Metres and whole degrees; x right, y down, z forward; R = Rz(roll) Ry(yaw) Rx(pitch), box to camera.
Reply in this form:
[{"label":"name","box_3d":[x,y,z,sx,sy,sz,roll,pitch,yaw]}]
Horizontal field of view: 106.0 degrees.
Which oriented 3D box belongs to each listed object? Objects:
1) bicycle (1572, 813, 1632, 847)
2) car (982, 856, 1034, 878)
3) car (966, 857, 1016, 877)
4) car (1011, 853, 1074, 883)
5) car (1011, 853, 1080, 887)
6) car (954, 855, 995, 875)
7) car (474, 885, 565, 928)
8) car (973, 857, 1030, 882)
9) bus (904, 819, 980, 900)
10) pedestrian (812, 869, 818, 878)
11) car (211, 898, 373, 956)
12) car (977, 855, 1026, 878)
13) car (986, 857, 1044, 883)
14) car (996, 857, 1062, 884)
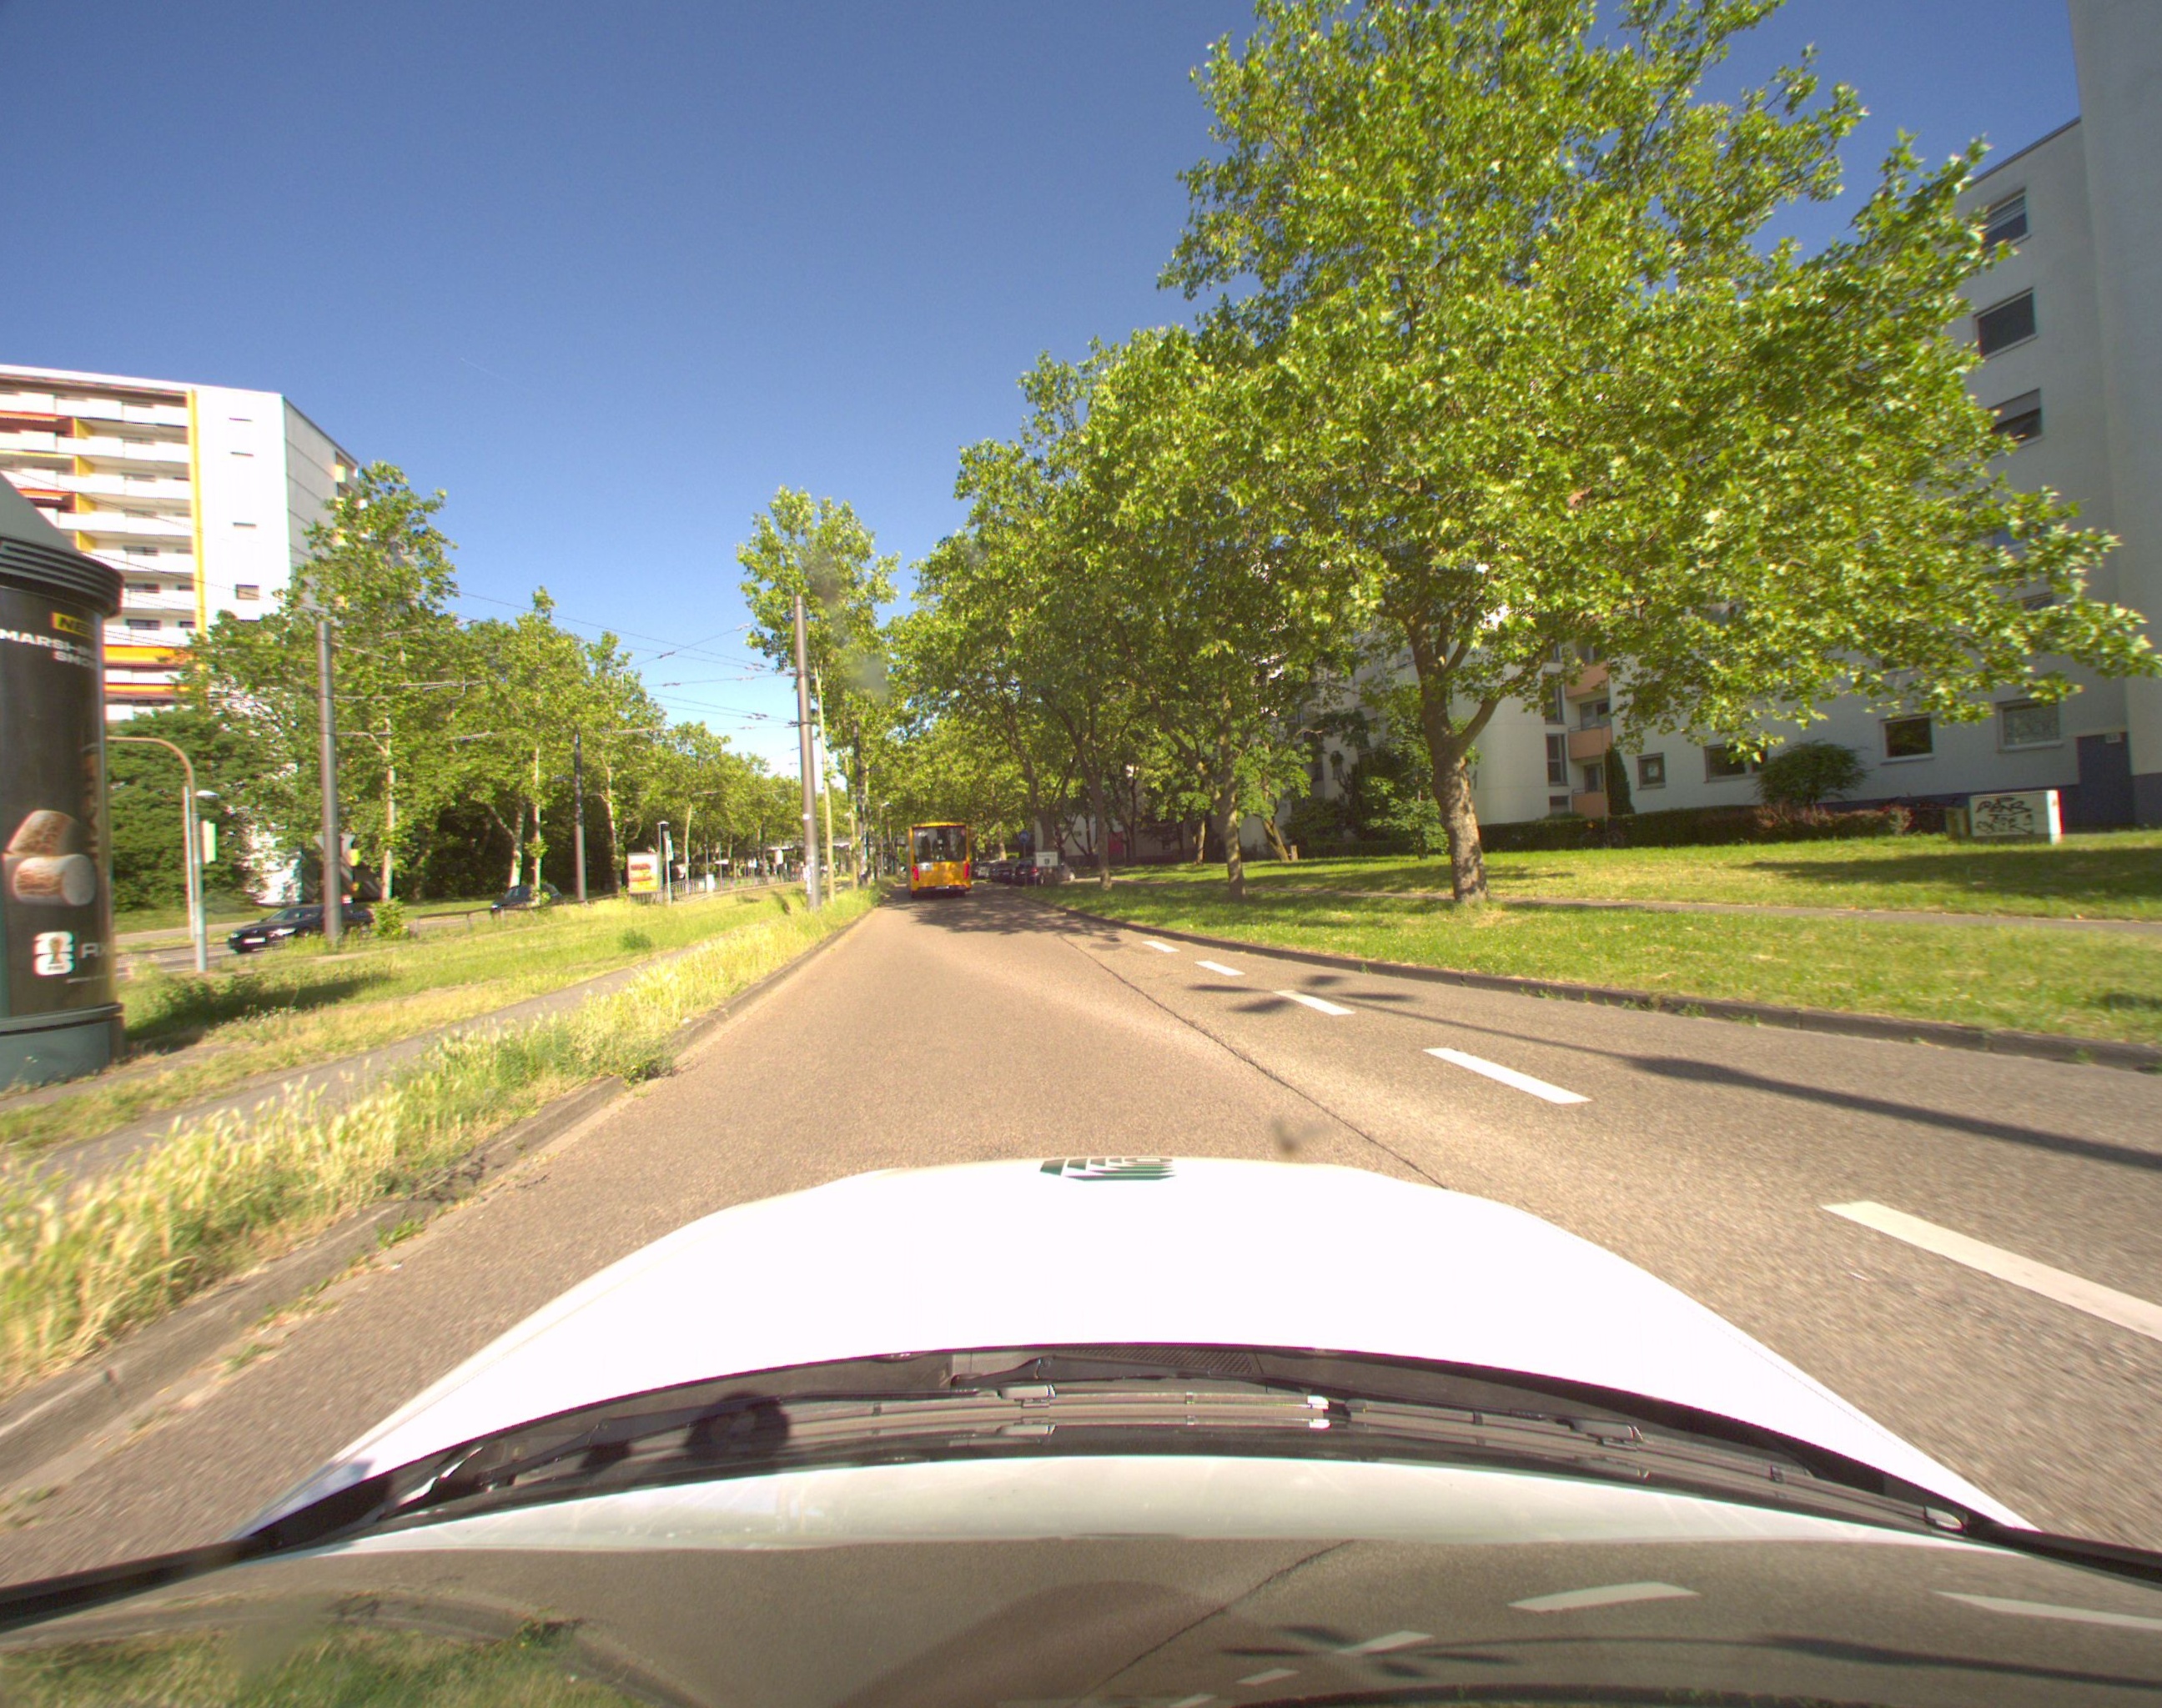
[{"label":"bicycle","box_3d":[18.613,-0.844,29.138,0.500,1.107,1.789,-8,1,-18]},{"label":"car","box_3d":[-5.734,1.034,64.701,1.776,1.444,4.026,-4,0,37]},{"label":"car","box_3d":[-8.011,1.183,72.777,1.777,1.422,4.620,-4,0,33]},{"label":"car","box_3d":[-2.275,0.830,48.627,1.776,1.492,3.608,-4,0,36]},{"label":"car","box_3d":[-1.936,0.878,45.398,1.776,1.592,3.751,-4,0,37]},{"label":"car","box_3d":[-12.754,1.315,97.942,1.991,2.052,4.620,-5,0,38]},{"label":"car","box_3d":[-25.178,2.287,36.694,1.795,1.616,4.216,-3,0,-12]},{"label":"car","box_3d":[-5.666,1.087,58.490,1.777,1.510,4.204,-4,0,31]},{"label":"bus","box_3d":[-7.097,0.329,39.996,2.903,3.266,12.163,-3,0,-13]},{"label":"pedestrian","box_3d":[-38.762,2.893,118.745,0.779,1.238,0.718,-2,-1,-14]},{"label":"car","box_3d":[-26.135,2.359,27.201,1.795,1.510,4.250,-3,0,-12]},{"label":"car","box_3d":[-6.640,1.021,68.361,1.776,1.575,4.026,-4,0,38]},{"label":"car","box_3d":[-4.455,1.089,55.186,1.776,1.445,3.914,-4,0,34]},{"label":"car","box_3d":[-3.233,1.022,51.542,1.776,1.318,4.174,-4,0,37]}]
